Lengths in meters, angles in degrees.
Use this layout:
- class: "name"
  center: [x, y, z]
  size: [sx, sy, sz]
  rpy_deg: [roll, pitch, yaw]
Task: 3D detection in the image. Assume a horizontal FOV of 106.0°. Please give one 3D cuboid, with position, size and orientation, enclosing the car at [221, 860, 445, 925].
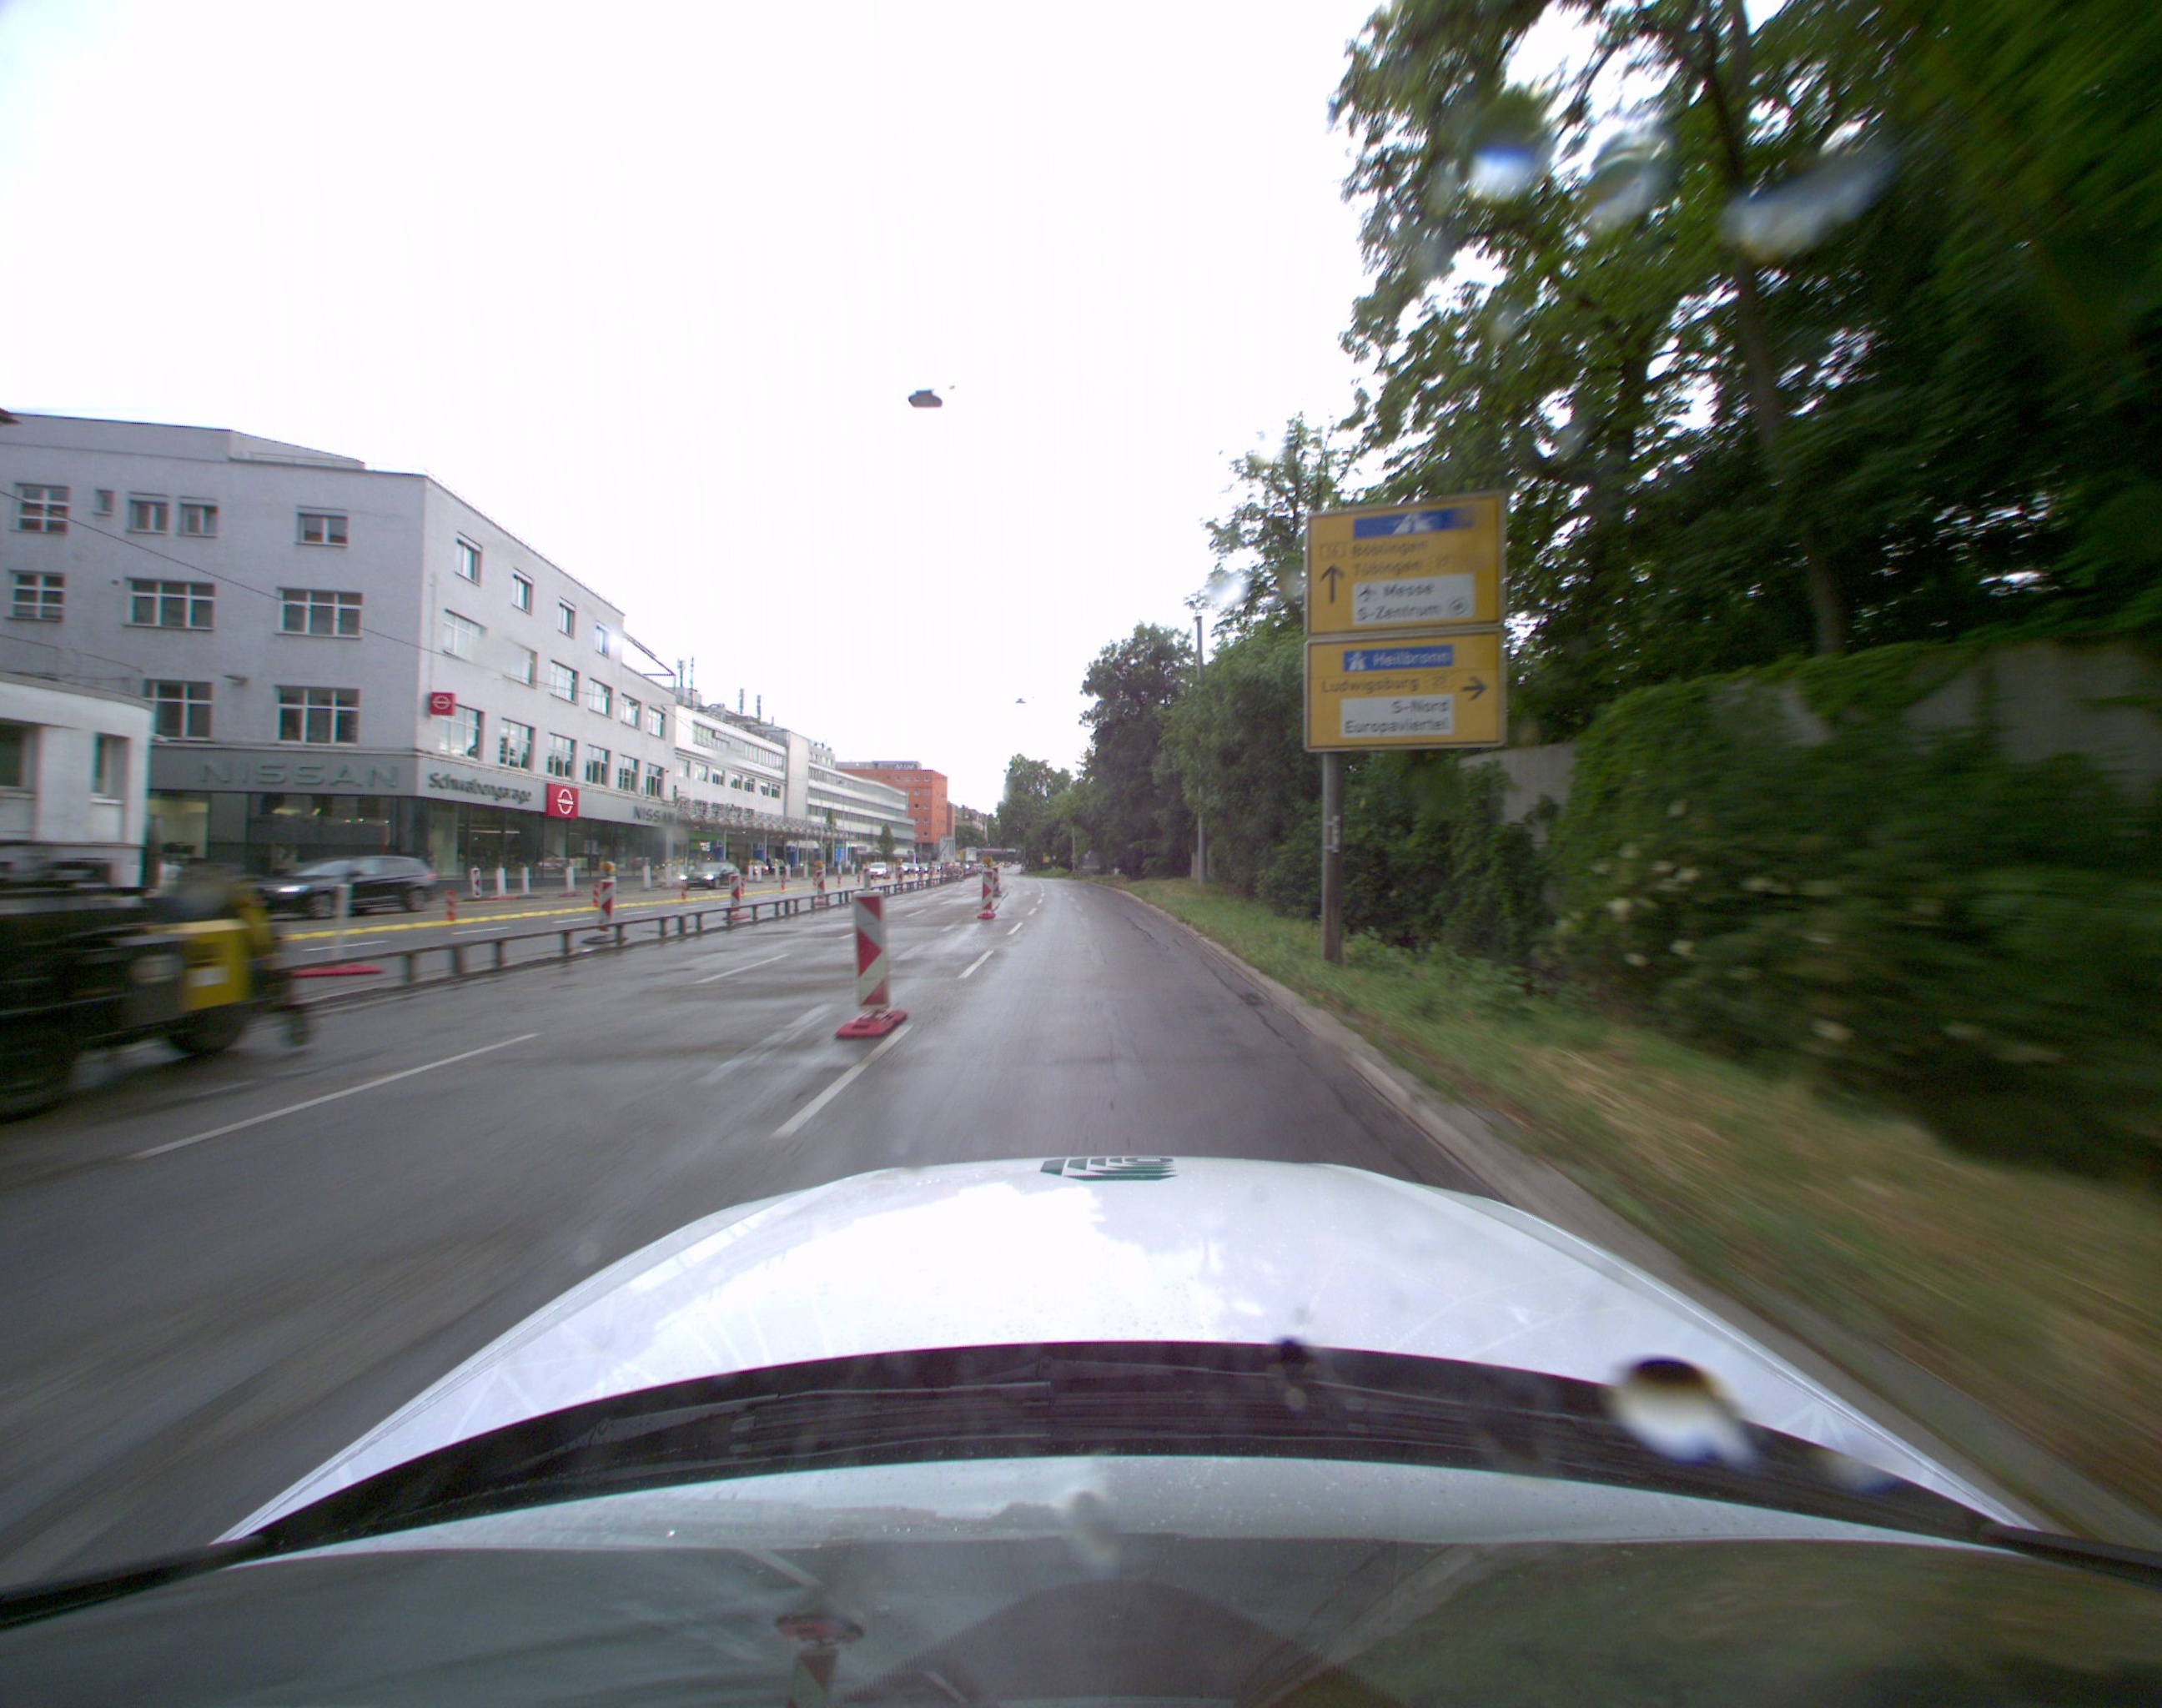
- class: "car"
  center: [-20.187, 0.960, 22.317]
  size: [1.827, 1.543, 4.558]
  rpy_deg: [0, 0, 1]

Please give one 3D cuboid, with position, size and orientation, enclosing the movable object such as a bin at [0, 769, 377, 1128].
- class: "movable object such as a bin"
  center: [-7.330, 0.586, 5.754]
  size: [1.709, 2.150, 3.350]
  rpy_deg: [-2, 0, 1]

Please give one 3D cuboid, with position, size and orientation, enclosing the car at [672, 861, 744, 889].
- class: "car"
  center: [-19.777, 1.106, 43.383]
  size: [1.756, 1.406, 4.251]
  rpy_deg: [-1, -1, 1]

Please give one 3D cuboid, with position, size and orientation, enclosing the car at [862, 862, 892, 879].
- class: "car"
  center: [-18.148, 1.442, 72.520]
  size: [1.775, 1.381, 4.451]
  rpy_deg: [-1, 0, -3]

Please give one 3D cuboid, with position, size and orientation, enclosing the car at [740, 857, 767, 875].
- class: "car"
  center: [-33.849, 1.231, 84.096]
  size: [1.813, 1.655, 3.958]
  rpy_deg: [3, -1, -34]
